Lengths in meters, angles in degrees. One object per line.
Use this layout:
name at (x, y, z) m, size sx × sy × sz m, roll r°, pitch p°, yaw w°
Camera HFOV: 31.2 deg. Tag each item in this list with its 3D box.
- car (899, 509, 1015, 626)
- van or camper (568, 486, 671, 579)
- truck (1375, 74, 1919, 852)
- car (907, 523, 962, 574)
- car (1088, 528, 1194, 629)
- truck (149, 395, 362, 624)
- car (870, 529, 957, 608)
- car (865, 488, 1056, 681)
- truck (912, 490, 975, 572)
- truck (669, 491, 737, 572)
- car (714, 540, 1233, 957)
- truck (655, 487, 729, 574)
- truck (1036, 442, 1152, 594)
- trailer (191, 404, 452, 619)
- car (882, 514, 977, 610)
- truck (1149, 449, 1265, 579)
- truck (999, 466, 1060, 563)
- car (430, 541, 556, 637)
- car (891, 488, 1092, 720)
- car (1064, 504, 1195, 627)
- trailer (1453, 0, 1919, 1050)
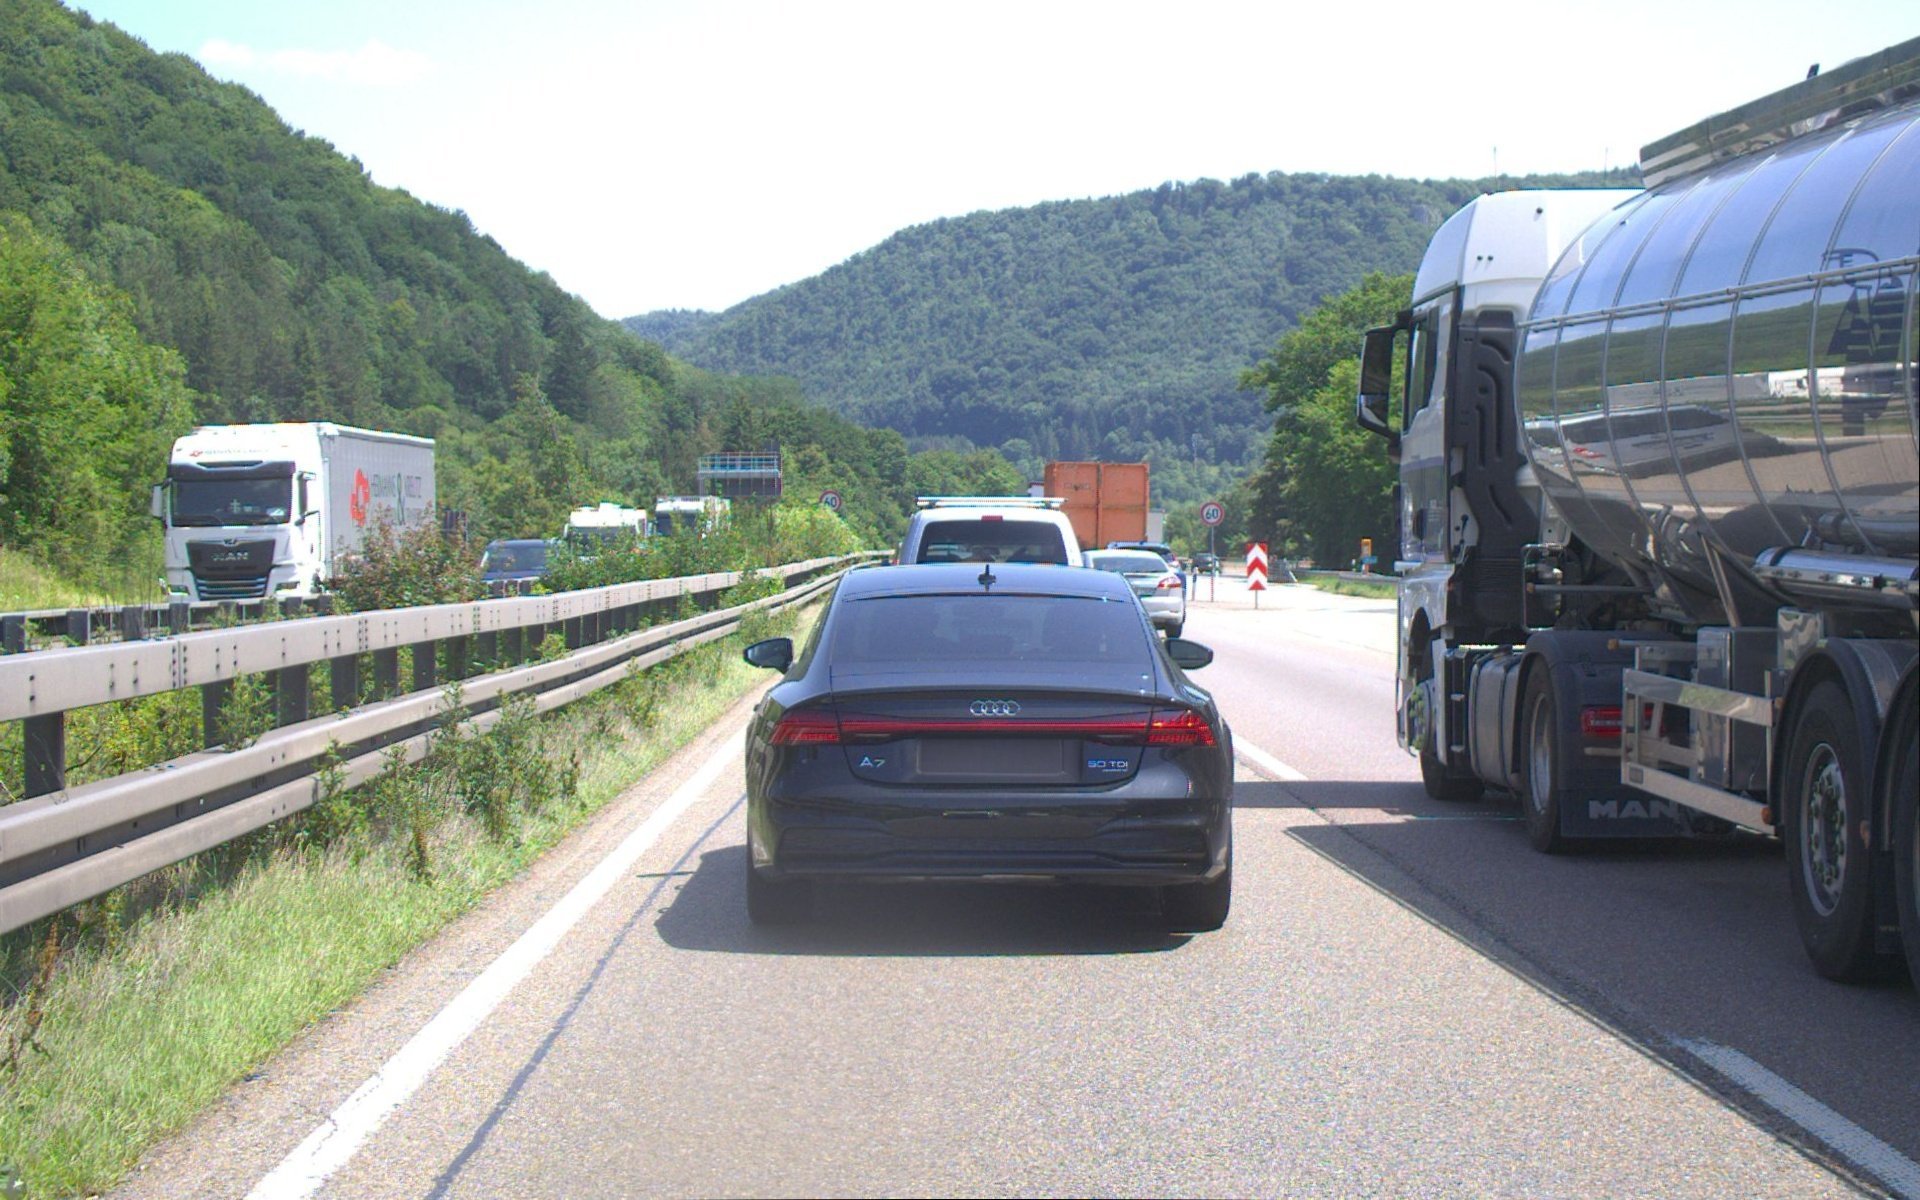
car at (-0.080, -0.606, 61.654) m, size 1.993 × 2.007 × 4.000 m, roll -1°, pitch 1°, yaw -1°
van or camper at (-12.532, -2.492, 127.072) m, size 2.590 × 3.324 × 7.647 m, roll 0°, pitch 1°, yaw 4°
truck at (3.949, -0.703, 19.234) m, size 2.511 × 3.745 × 5.246 m, roll 0°, pitch 1°, yaw -1°
car at (-0.811, -1.710, 113.489) m, size 1.712 × 1.613 × 4.000 m, roll -1°, pitch 1°, yaw 1°
car at (3.682, -0.460, 70.532) m, size 1.993 × 1.996 × 4.000 m, roll -1°, pitch 1°, yaw 1°
truck at (-12.884, -1.647, 63.285) m, size 2.728 × 3.987 × 5.370 m, roll -1°, pitch 1°, yaw 0°
car at (-0.958, -0.683, 72.632) m, size 1.712 × 1.613 × 4.000 m, roll -1°, pitch 1°, yaw 1°
car at (-0.011, -0.193, 38.000) m, size 1.993 × 2.007 × 4.000 m, roll 0°, pitch 1°, yaw 0°
truck at (-0.686, -2.990, 149.877) m, size 2.628 × 3.429 × 11.421 m, roll 0°, pitch 1°, yaw 0°
truck at (-12.954, -3.467, 173.926) m, size 2.869 × 3.967 × 9.032 m, roll 0°, pitch 1°, yaw -1°
car at (-0.010, 0.500, 14.356) m, size 1.849 × 1.483 × 4.083 m, roll 0°, pitch 1°, yaw -2°
truck at (-12.739, -3.295, 164.321) m, size 2.869 × 3.992 × 10.172 m, roll 0°, pitch 1°, yaw -1°
truck at (3.704, -2.304, 98.173) m, size 2.817 × 3.989 × 14.956 m, roll 0°, pitch 1°, yaw 0°
trailer at (-12.919, -1.775, 70.992) m, size 2.782 × 3.986 × 14.160 m, roll 0°, pitch 1°, yaw 0°
car at (-0.676, -0.839, 74.790) m, size 1.993 × 2.007 × 4.000 m, roll -1°, pitch 1°, yaw -1°
truck at (7.977, -2.770, 112.865) m, size 2.817 × 3.989 × 14.956 m, roll 0°, pitch 1°, yaw 0°
truck at (2.531, -3.140, 128.167) m, size 1.993 × 3.435 × 11.812 m, roll 0°, pitch 1°, yaw 0°
car at (-9.123, -0.247, 67.473) m, size 1.922 × 1.790 × 4.601 m, roll 0°, pitch 1°, yaw -1°
car at (0.238, -0.004, 29.138) m, size 1.576 × 1.827 × 4.000 m, roll 0°, pitch 1°, yaw 0°
car at (2.854, -0.602, 58.503) m, size 1.993 × 2.007 × 4.000 m, roll -1°, pitch 1°, yaw 0°
trailer at (4.073, -0.571, 12.867) m, size 2.538 × 3.722 × 11.892 m, roll 0°, pitch 1°, yaw -1°
